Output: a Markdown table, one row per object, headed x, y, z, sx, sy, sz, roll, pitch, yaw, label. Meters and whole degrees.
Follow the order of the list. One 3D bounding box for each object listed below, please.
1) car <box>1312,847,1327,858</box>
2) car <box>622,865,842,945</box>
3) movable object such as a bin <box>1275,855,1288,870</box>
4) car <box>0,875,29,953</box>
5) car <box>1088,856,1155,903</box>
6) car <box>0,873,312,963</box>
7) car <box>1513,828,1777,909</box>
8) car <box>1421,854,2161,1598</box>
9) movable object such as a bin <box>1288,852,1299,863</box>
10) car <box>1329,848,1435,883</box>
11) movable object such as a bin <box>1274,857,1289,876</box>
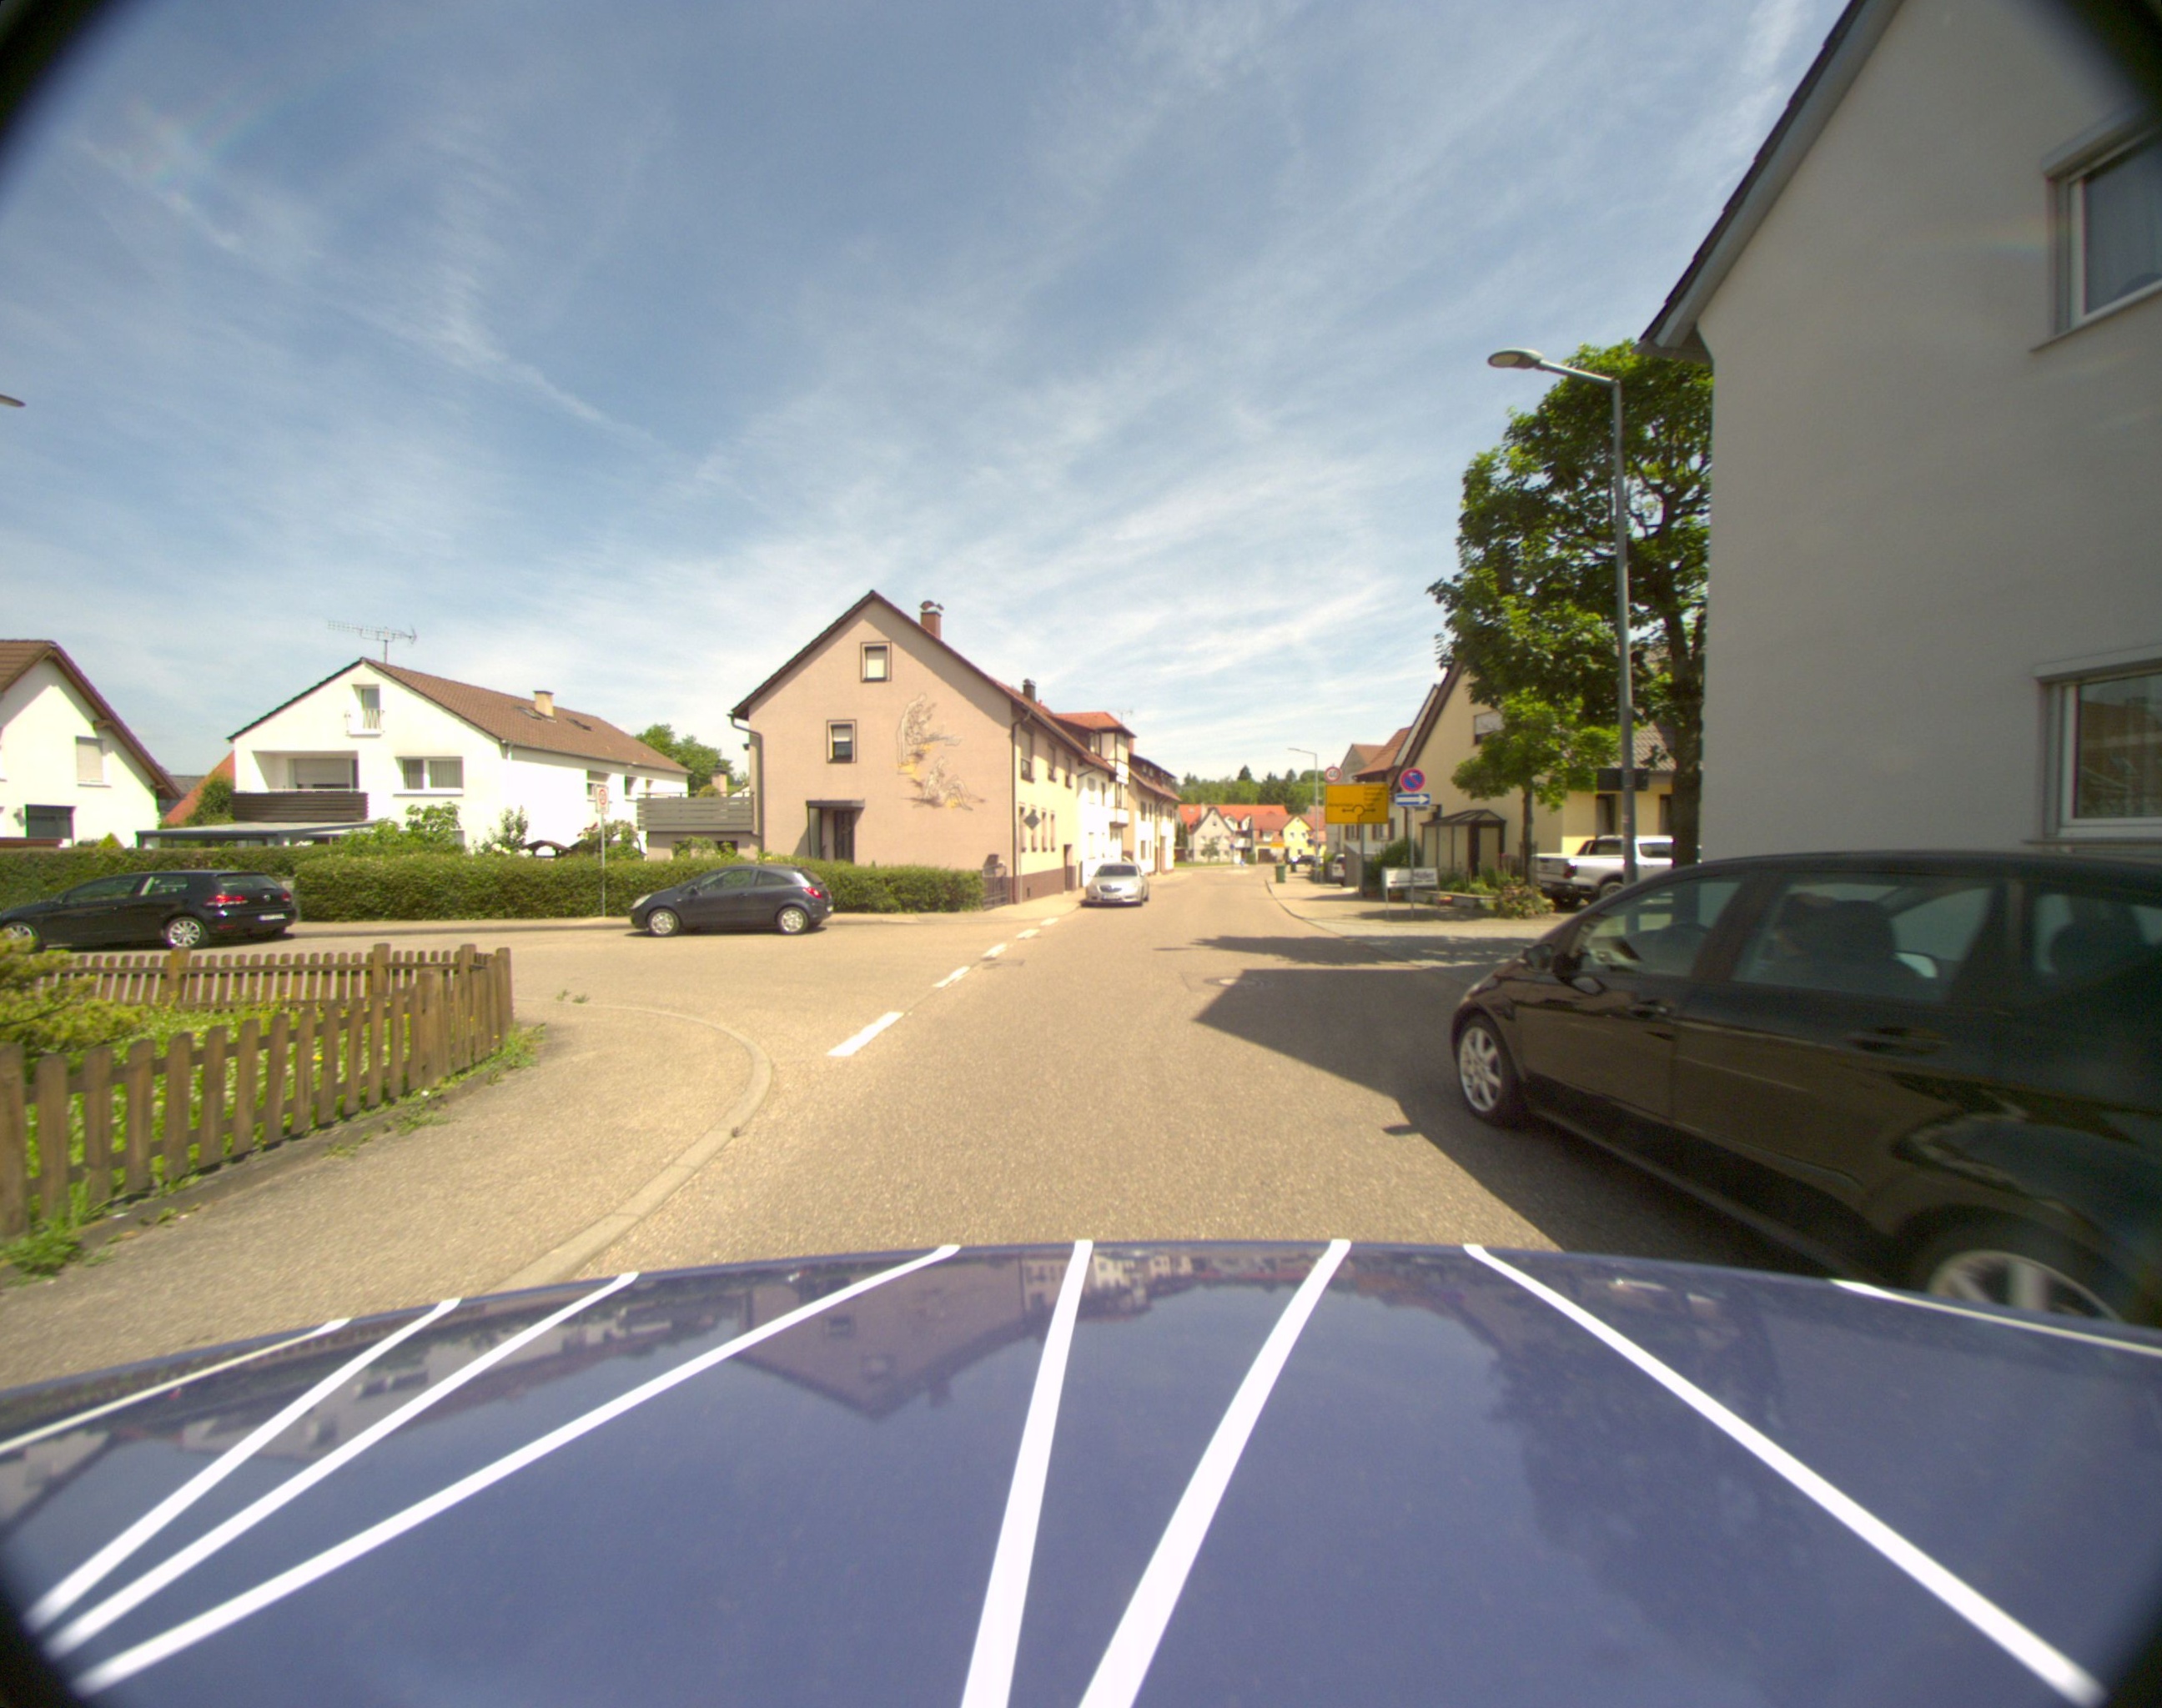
| x | y | z | sx | sy | sz | roll | pitch | yaw | label |
| --- | --- | --- | --- | --- | --- | --- | --- | --- | --- |
| 32.427 | -0.187 | 103.267 | 1.957 | 1.477 | 4.464 | 0 | 1 | 17 | car |
| -7.231 | 1.011 | 16.109 | 3.816 | 1.479 | 1.888 | -1 | 1 | -7 | car |
| 14.426 | 0.633 | 54.675 | 0.792 | 1.051 | 0.651 | 0 | 1 | 10 | movable object such as a bin |
| -22.981 | 1.208 | 14.378 | 3.445 | 1.525 | 1.647 | -1 | 0 | -7 | car |
| 1.496 | 0.816 | 26.201 | 1.789 | 1.433 | 4.340 | -1 | 0 | 10 | car |
| -17.770 | 1.163 | 14.570 | 3.908 | 1.479 | 1.853 | -1 | 0 | -7 | car |
| 14.074 | 0.338 | 19.191 | 5.119 | 1.885 | 2.175 | -1 | 0 | -2 | car |
| 3.163 | 0.779 | 3.026 | 1.804 | 1.546 | 4.070 | 0 | 0 | 0 | car |
| 19.713 | 0.349 | 70.537 | 0.809 | 1.039 | 0.828 | -1 | 0 | 23 | movable object such as a bin |
| 14.703 | 0.544 | 37.250 | 4.412 | 1.613 | 2.000 | -1 | 1 | 1 | car |
| 11.623 | 0.736 | 44.041 | 0.827 | 1.071 | 0.819 | -1 | 0 | 14 | movable object such as a bin |
